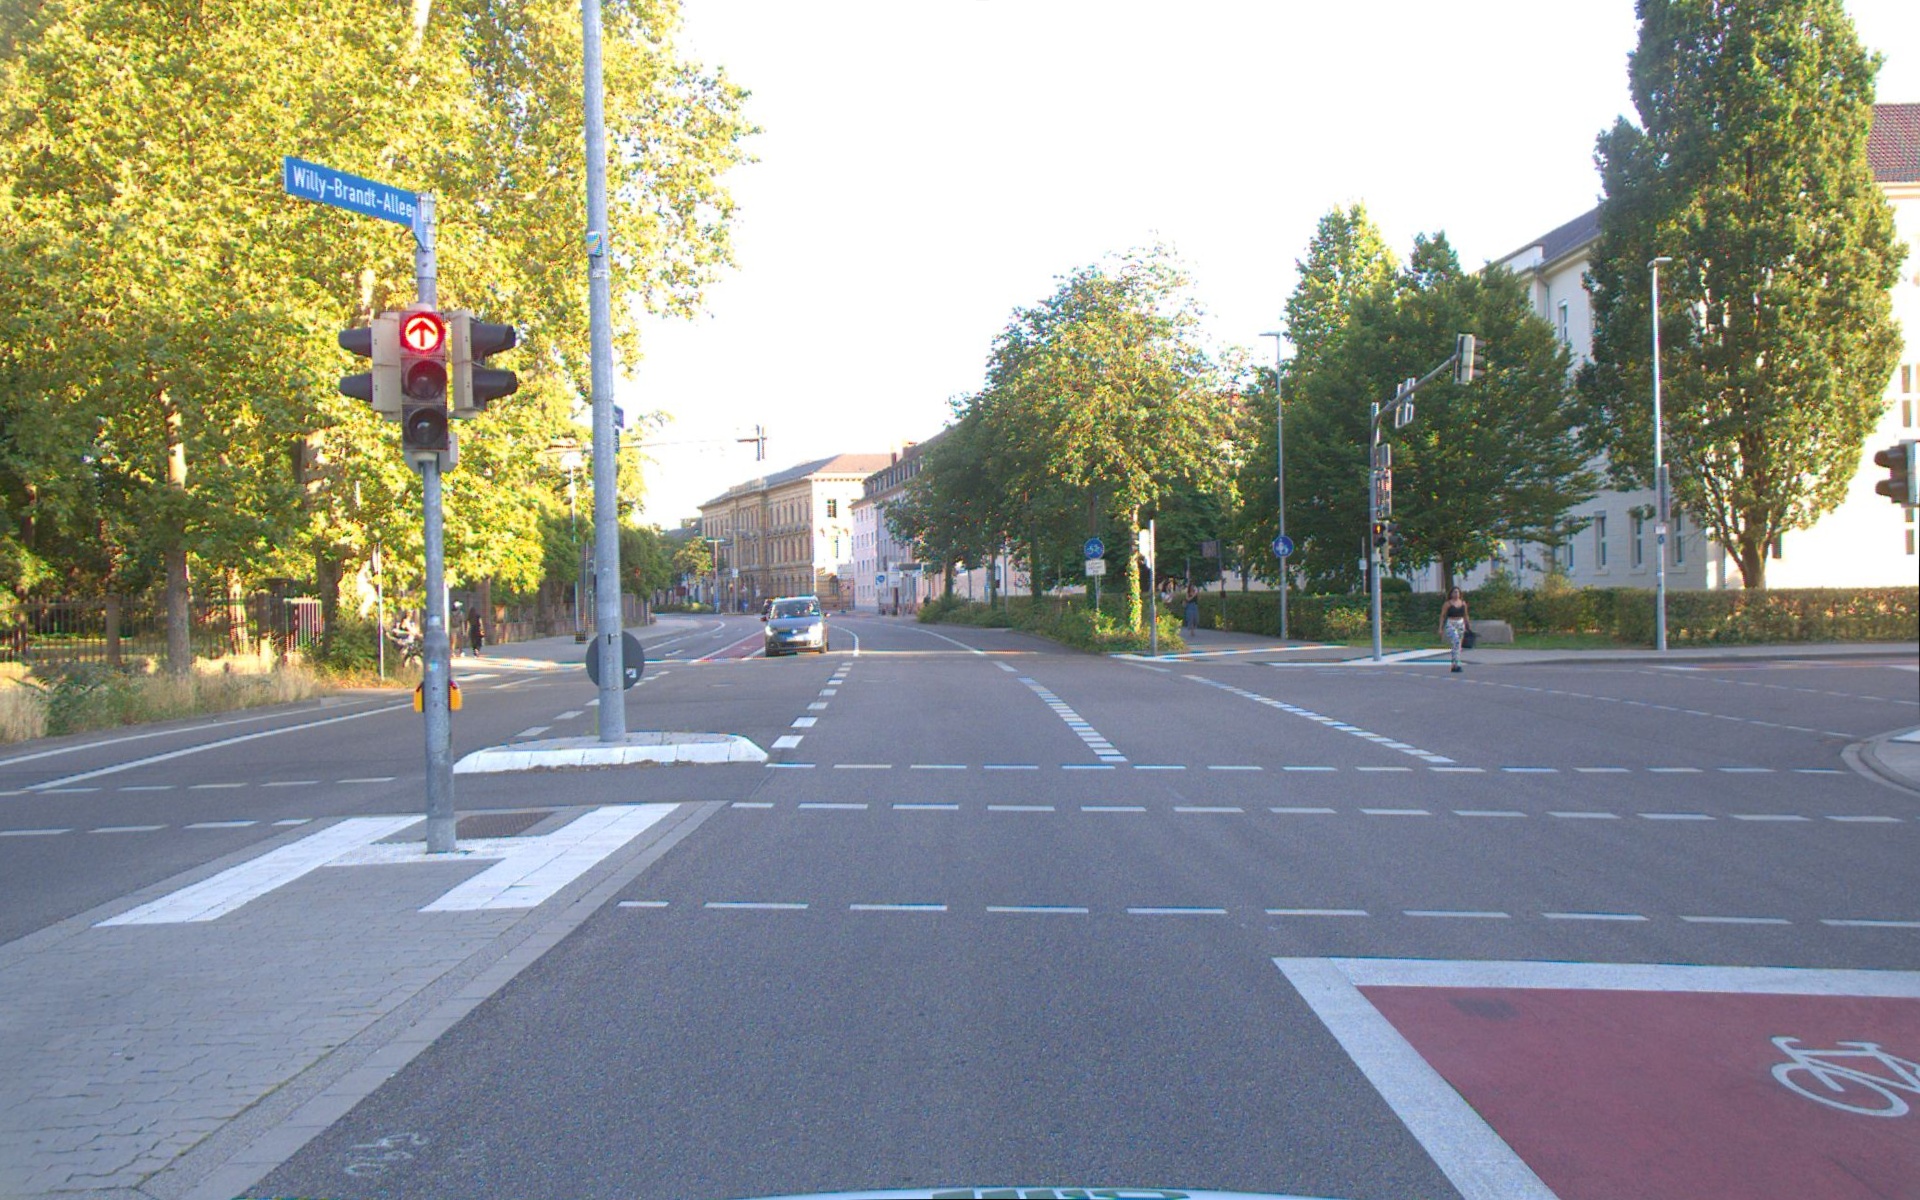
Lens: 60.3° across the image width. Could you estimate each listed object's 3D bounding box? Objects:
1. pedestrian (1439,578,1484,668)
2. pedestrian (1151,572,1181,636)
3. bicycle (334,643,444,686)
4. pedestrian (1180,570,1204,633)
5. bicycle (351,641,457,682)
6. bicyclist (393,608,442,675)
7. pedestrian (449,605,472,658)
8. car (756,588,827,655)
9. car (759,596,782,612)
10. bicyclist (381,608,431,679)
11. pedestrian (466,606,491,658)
[{"bbox_3d":[9.360,0.419,30.866,0.588,1.664,0.691,0,0,-5],"label":"pedestrian"},{"bbox_3d":[6.626,0.137,53.150,0.852,2.049,0.722,0,0,-1],"label":"pedestrian"},{"bbox_3d":[-13.810,1.556,40.055,2.380,0.940,0.775,-1,0,0],"label":"bicycle"},{"bbox_3d":[7.518,0.046,53.683,0.622,2.049,0.720,0,0,-5],"label":"pedestrian"},{"bbox_3d":[-14.040,1.555,41.796,2.380,0.940,0.775,-1,0,0],"label":"bicycle"},{"bbox_3d":[-13.706,1.048,41.806,0.938,1.659,0.752,-1,0,0],"label":"bicyclist"},{"bbox_3d":[-15.690,0.990,51.935,0.524,1.624,0.590,-1,0,-1],"label":"pedestrian"},{"bbox_3d":[-4.864,0.604,48.201,1.813,1.750,4.292,-3,0,-4],"label":"car"},{"bbox_3d":[-19.429,0.402,169.426,1.789,1.616,3.984,-2,0,-15],"label":"car"},{"bbox_3d":[-13.416,1.049,40.069,0.938,1.659,0.752,-1,0,0],"label":"bicyclist"},{"bbox_3d":[-15.078,0.990,51.800,0.587,1.601,0.646,-1,0,-1],"label":"pedestrian"}]
